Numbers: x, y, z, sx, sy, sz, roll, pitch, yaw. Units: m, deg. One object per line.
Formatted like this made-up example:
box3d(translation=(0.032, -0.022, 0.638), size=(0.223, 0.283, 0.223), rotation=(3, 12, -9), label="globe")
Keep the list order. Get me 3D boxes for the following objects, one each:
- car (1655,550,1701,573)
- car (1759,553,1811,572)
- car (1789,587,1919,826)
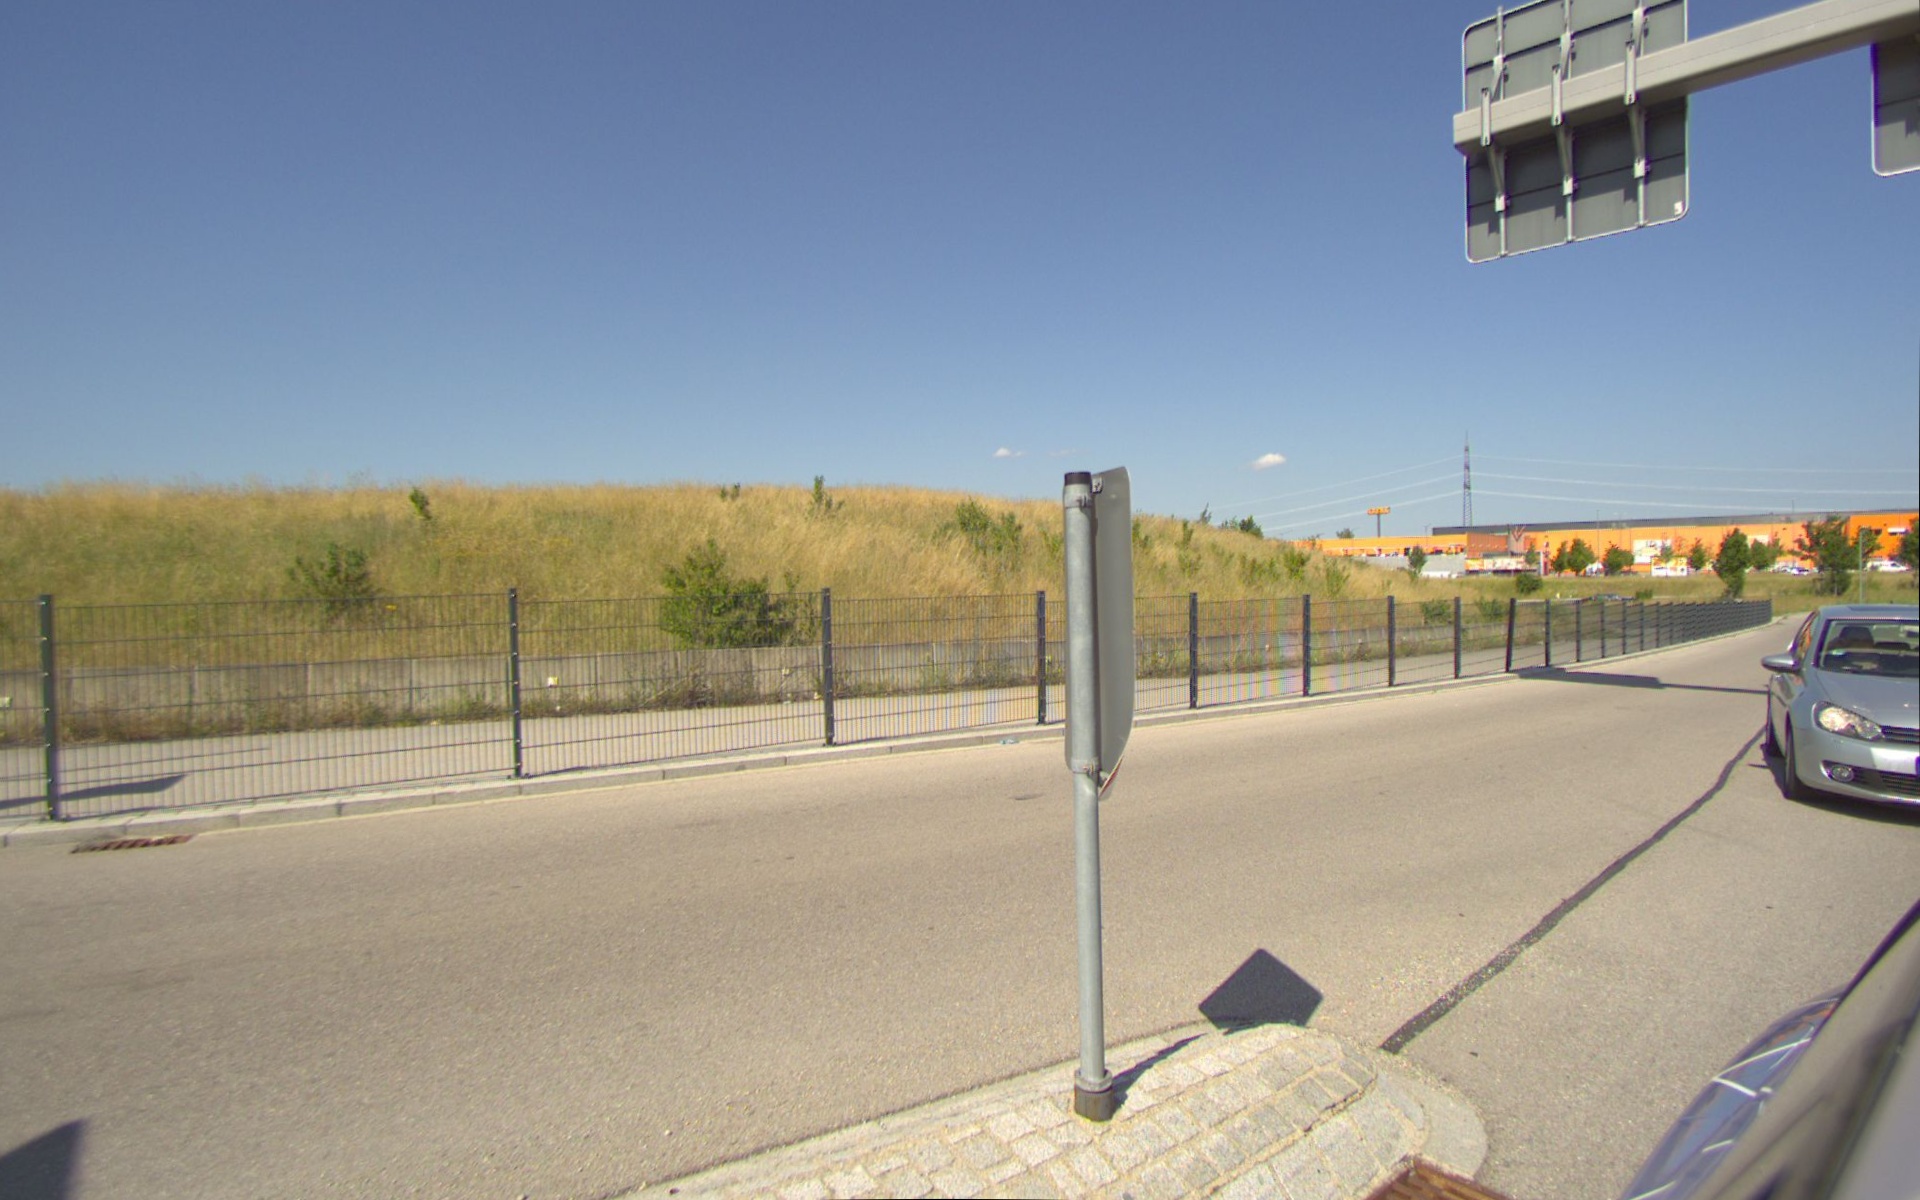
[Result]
box3d(translation=(88.753, -4.727, 125.123), size=(4.612, 2.581, 1.973), rotation=(-1, 0, 39), label="car")
box3d(translation=(96.406, -4.410, 118.365), size=(4.612, 2.039, 1.973), rotation=(-1, 0, 39), label="car")
box3d(translation=(7.570, 0.681, 7.808), size=(1.740, 1.486, 3.903), rotation=(3, 3, 40), label="car")
